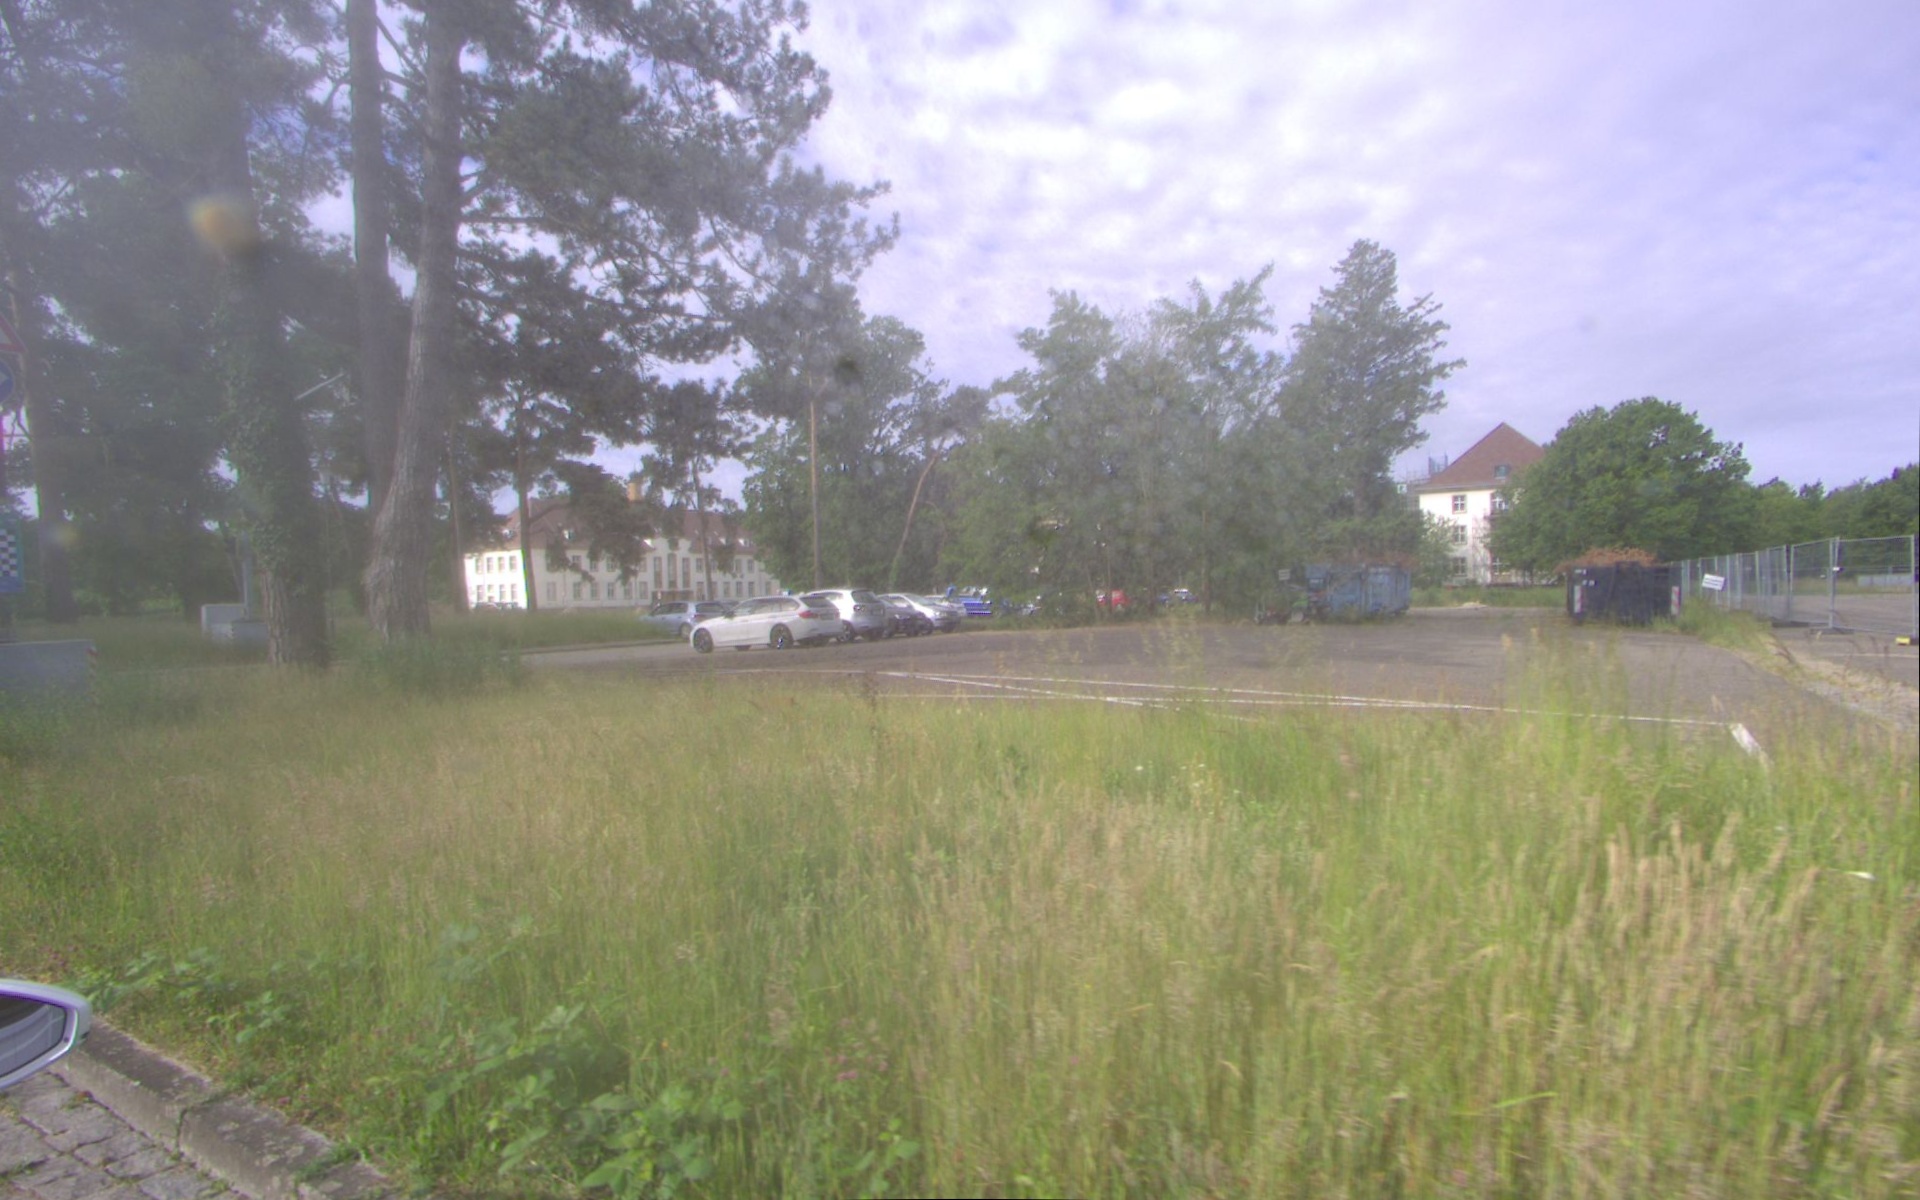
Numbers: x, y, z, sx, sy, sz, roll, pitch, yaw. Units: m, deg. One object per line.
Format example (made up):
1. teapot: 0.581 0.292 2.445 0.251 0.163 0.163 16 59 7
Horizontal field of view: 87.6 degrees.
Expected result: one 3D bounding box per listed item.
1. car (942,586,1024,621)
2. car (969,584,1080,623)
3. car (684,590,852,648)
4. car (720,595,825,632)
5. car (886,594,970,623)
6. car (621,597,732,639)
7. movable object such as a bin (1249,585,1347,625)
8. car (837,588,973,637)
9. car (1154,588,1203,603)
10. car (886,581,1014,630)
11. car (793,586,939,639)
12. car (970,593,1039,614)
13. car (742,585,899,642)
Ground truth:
1. car: 1.350 0.196 59.337 4.586 1.994 1.750 -1 1 29
2. car: 2.762 0.148 43.126 4.379 1.598 1.864 -1 1 29
3. car: -5.283 0.525 27.423 4.380 1.434 1.750 -2 1 29
4. car: -8.210 0.596 43.788 4.379 1.544 1.750 -1 1 29
5. car: -1.774 0.465 55.261 4.379 1.544 1.750 -1 1 29
6. car: -11.255 0.720 39.686 4.385 1.545 1.748 -1 1 33
7. movable object such as a bin: 9.642 0.116 28.611 2.505 1.098 1.060 1 2 31
8. car: -1.923 0.435 34.808 4.379 1.598 1.864 -1 1 29
9. car: 19.183 -0.415 87.865 3.936 1.226 1.656 -1 1 27
10. car: -0.387 0.194 36.858 4.379 1.709 1.864 -1 1 29
11. car: -3.050 0.388 32.187 4.379 1.598 1.864 -1 1 29
12. car: 2.751 0.217 61.690 3.941 1.226 1.654 -1 1 31
13. car: -4.172 0.392 29.768 4.379 1.598 1.864 -1 1 29
